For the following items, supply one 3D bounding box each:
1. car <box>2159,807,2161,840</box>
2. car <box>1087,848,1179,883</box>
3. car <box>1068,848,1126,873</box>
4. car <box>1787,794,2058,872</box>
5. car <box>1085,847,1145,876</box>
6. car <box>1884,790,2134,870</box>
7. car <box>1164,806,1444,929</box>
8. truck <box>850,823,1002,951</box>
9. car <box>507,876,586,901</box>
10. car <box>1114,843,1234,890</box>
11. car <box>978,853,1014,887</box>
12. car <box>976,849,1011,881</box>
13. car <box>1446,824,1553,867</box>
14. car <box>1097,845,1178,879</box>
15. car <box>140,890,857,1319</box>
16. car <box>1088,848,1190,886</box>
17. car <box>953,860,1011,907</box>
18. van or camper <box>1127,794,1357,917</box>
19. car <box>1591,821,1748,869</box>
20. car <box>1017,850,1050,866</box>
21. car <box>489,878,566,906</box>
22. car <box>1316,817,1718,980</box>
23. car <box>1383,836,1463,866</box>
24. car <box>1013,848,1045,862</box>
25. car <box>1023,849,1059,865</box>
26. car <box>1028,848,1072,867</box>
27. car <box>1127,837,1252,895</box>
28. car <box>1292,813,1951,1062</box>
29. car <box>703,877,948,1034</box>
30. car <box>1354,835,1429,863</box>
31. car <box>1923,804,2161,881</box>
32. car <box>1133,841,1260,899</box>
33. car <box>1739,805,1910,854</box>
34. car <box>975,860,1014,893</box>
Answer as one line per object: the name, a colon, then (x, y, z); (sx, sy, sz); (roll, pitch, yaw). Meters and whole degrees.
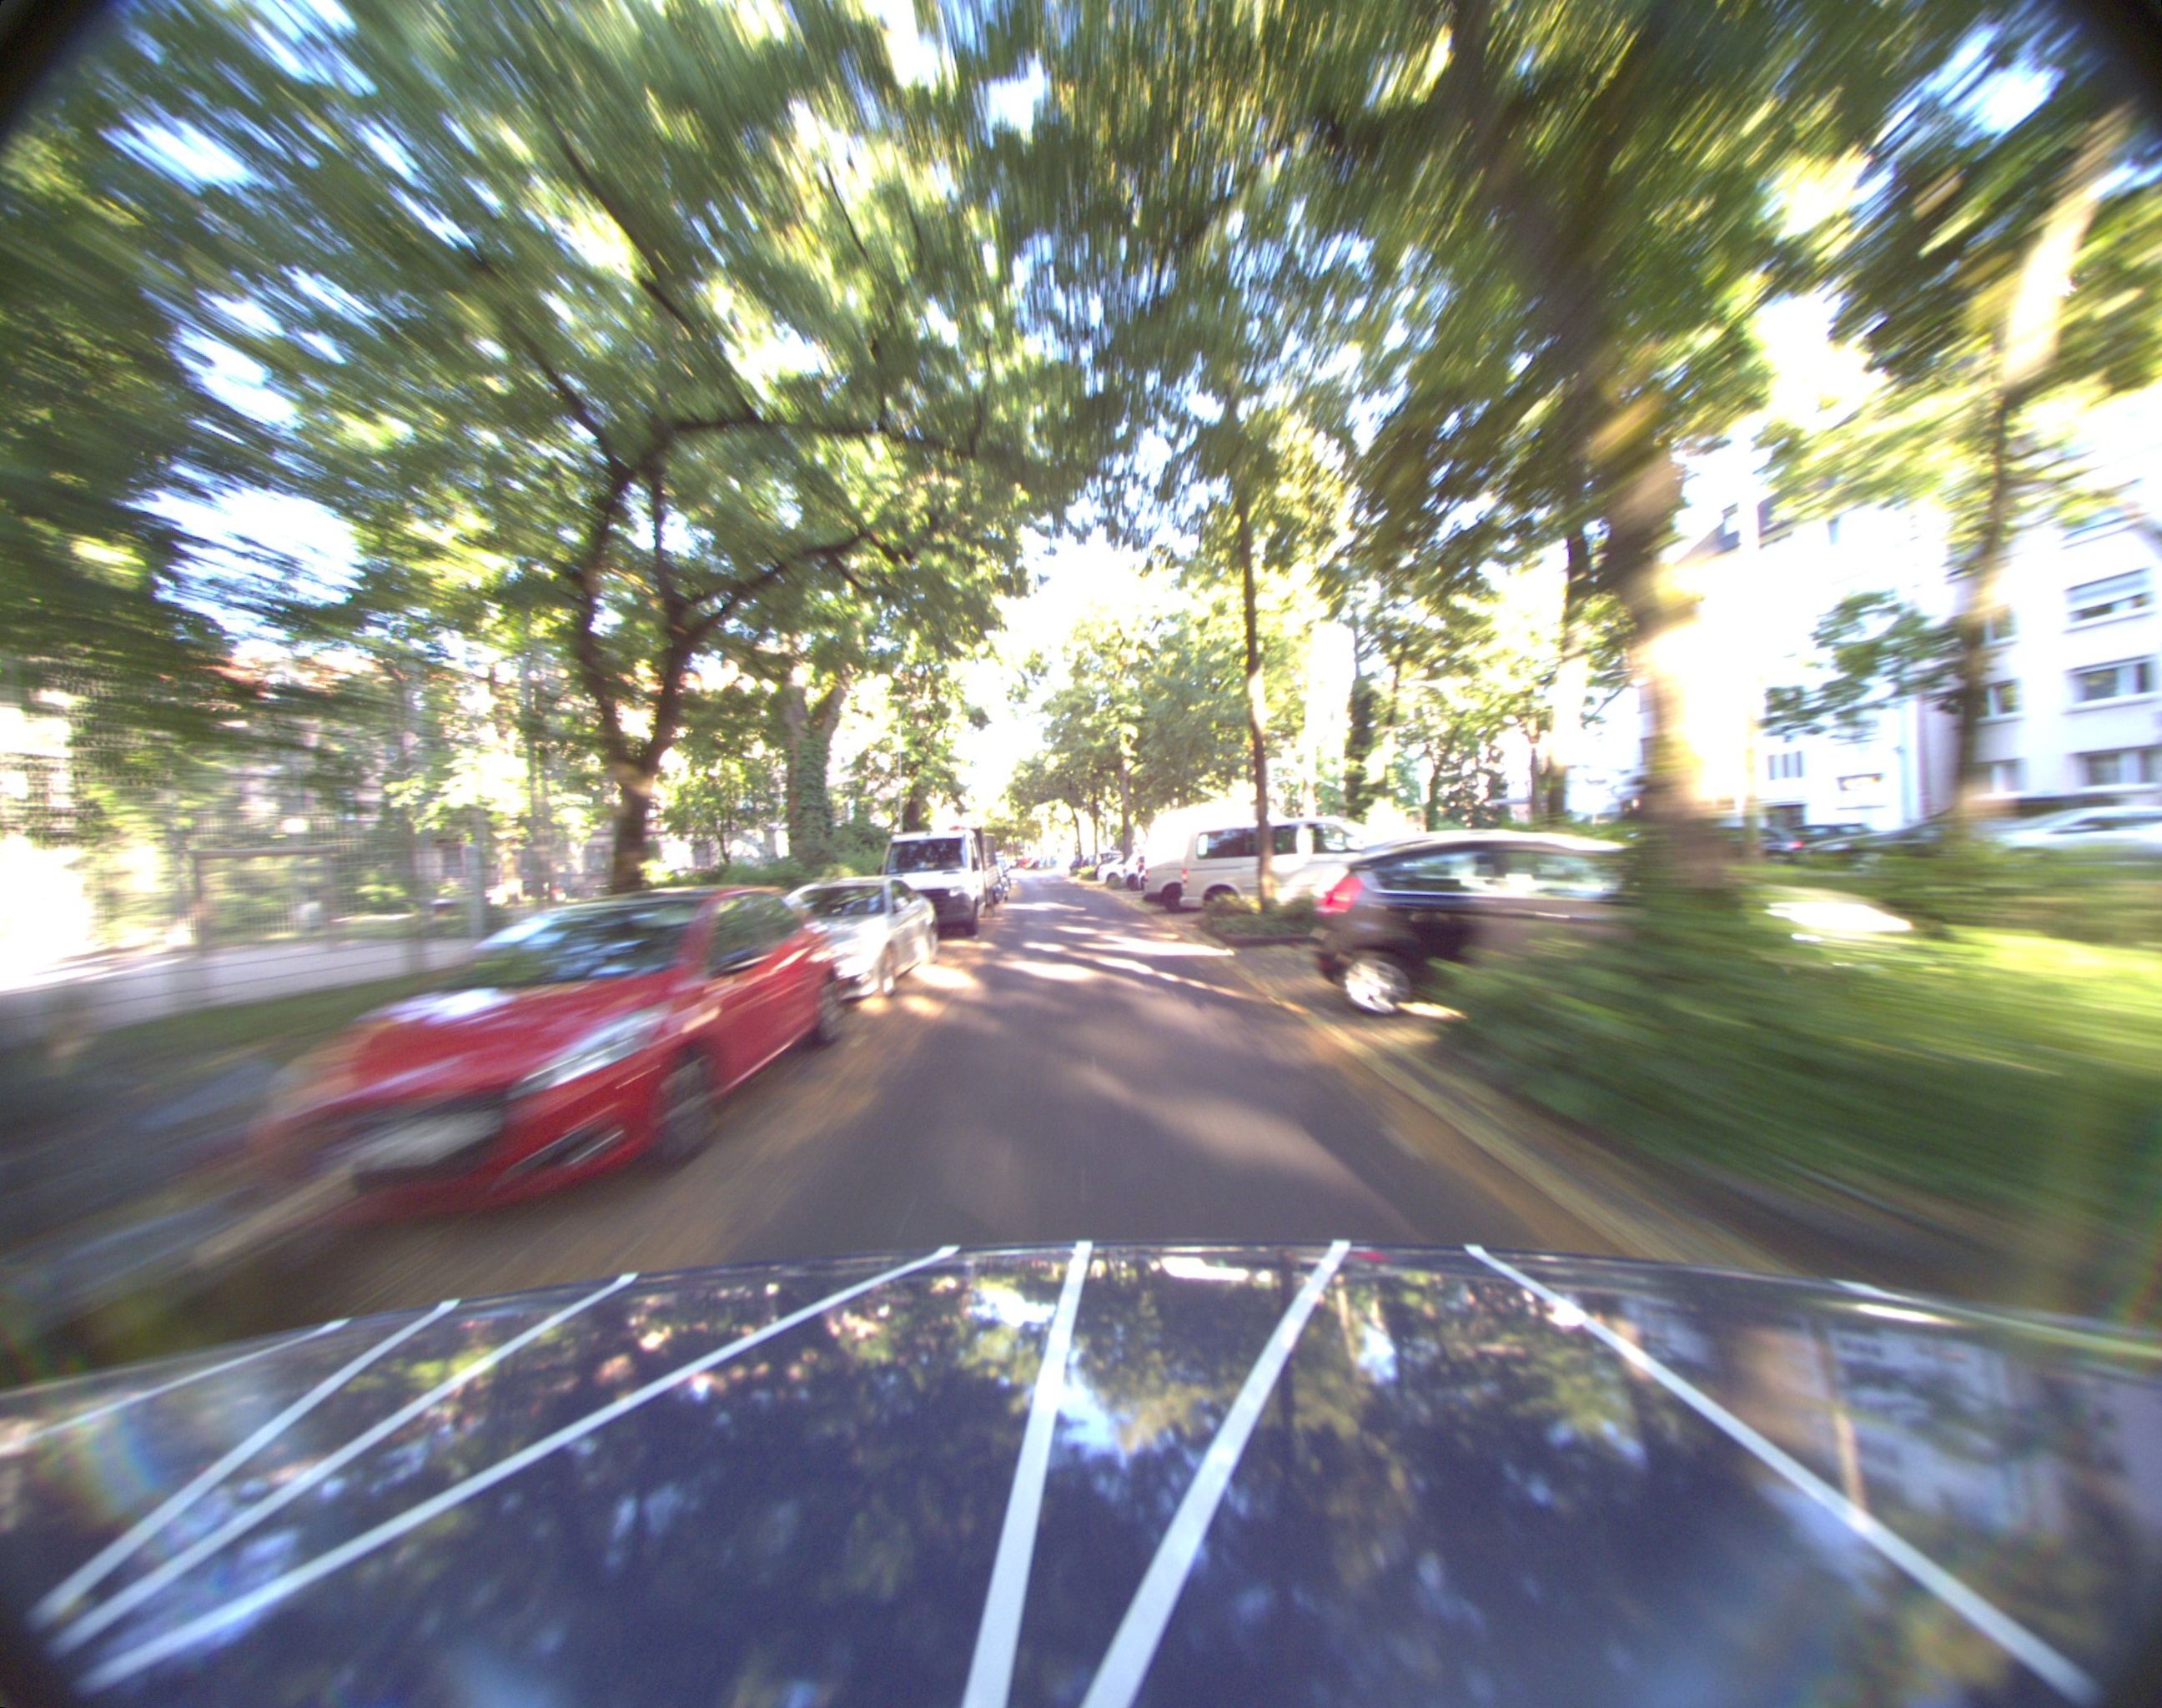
car: (27.816, -0.575, 17.154); (1.856, 1.396, 3.508); (-6, 0, -1)
car: (2.690, 0.600, 39.492); (4.305, 1.396, 1.746); (-6, 0, 23)
car: (1.199, 0.464, 57.093); (3.889, 1.440, 1.636); (-6, 2, 22)
car: (19.768, -0.448, 18.131); (3.989, 1.638, 1.741); (-2, 1, 32)
car: (2.169, 0.479, 48.668); (3.346, 1.559, 1.574); (-6, 0, 24)
car: (27.307, -0.624, 22.641); (1.856, 1.982, 4.417); (-6, 0, -1)
car: (4.392, 0.292, 15.158); (4.875, 1.966, 2.048); (-5, 1, 29)
truck: (-3.396, 0.628, 18.387); (2.302, 2.372, 6.932); (-3, 0, -1)
car: (-34.185, 2.182, 48.685); (4.007, 1.401, 1.795); (-2, 1, -35)
car: (3.714, 0.508, 30.372); (4.235, 1.432, 1.859); (-6, 1, 26)
car: (-4.762, 0.873, 42.833); (1.792, 1.698, 4.374); (-3, 1, -6)
car: (-6.068, 0.729, 52.212); (1.972, 1.924, 5.451); (-3, 1, -10)
car: (19.627, -0.383, 35.871); (4.309, 1.807, 1.816); (-2, 1, 26)
car: (3.134, 0.440, 42.227); (3.992, 1.503, 1.962); (-6, 0, 20)
car: (-2.947, 1.115, 5.071); (1.676, 1.445, 3.948); (-3, 1, -1)
car: (2.820, 0.630, 36.869); (4.456, 1.396, 1.859); (-6, 0, 26)
car: (-3.500, 0.998, 27.472); (1.677, 1.450, 3.892); (-3, 1, -3)
van or camper: (3.885, 0.061, 18.450); (4.875, 2.456, 2.048); (-5, 1, 27)
car: (20.350, -0.306, 26.484); (3.990, 1.419, 1.775); (-3, 1, 25)
car: (-6.748, 0.572, 107.319); (4.236, 1.658, 1.636); (-6, 2, 17)
car: (-31.686, 2.143, 43.617); (3.473, 1.401, 1.795); (-2, 1, -35)
car: (4.787, 0.518, 8.753); (3.542, 1.485, 1.828); (-6, 1, 29)
car: (18.904, -0.157, 41.981); (3.873, 1.436, 1.857); (-3, 1, 27)
car: (-7.815, 0.116, 113.795); (4.236, 1.658, 1.636); (-6, 2, 17)
car: (-5.167, 0.397, 98.678); (4.236, 1.658, 1.636); (-6, 2, 17)
car: (-3.459, 0.412, 85.350); (4.435, 1.613, 1.636); (-6, 2, 17)
car: (3.960, 0.439, 27.651); (4.032, 1.653, 1.859); (-6, 1, 23)
car: (3.991, 0.605, 6.286); (3.815, 1.430, 1.828); (-6, 1, 35)
car: (-3.035, 1.120, 10.050); (1.676, 1.389, 4.298); (-3, 0, 0)
car: (18.242, -0.286, 44.616); (3.873, 1.436, 1.857); (-3, 1, 27)
car: (19.764, -0.227, 14.892); (3.990, 1.373, 1.807); (-2, 1, 29)
car: (3.754, 0.522, 24.756); (3.542, 1.485, 1.828); (-6, 1, 29)
car: (27.462, -0.836, 28.310); (1.856, 1.487, 4.417); (-6, 0, -1)
car: (-4.241, 1.065, 37.716); (1.677, 1.382, 4.264); (-3, 0, -5)
